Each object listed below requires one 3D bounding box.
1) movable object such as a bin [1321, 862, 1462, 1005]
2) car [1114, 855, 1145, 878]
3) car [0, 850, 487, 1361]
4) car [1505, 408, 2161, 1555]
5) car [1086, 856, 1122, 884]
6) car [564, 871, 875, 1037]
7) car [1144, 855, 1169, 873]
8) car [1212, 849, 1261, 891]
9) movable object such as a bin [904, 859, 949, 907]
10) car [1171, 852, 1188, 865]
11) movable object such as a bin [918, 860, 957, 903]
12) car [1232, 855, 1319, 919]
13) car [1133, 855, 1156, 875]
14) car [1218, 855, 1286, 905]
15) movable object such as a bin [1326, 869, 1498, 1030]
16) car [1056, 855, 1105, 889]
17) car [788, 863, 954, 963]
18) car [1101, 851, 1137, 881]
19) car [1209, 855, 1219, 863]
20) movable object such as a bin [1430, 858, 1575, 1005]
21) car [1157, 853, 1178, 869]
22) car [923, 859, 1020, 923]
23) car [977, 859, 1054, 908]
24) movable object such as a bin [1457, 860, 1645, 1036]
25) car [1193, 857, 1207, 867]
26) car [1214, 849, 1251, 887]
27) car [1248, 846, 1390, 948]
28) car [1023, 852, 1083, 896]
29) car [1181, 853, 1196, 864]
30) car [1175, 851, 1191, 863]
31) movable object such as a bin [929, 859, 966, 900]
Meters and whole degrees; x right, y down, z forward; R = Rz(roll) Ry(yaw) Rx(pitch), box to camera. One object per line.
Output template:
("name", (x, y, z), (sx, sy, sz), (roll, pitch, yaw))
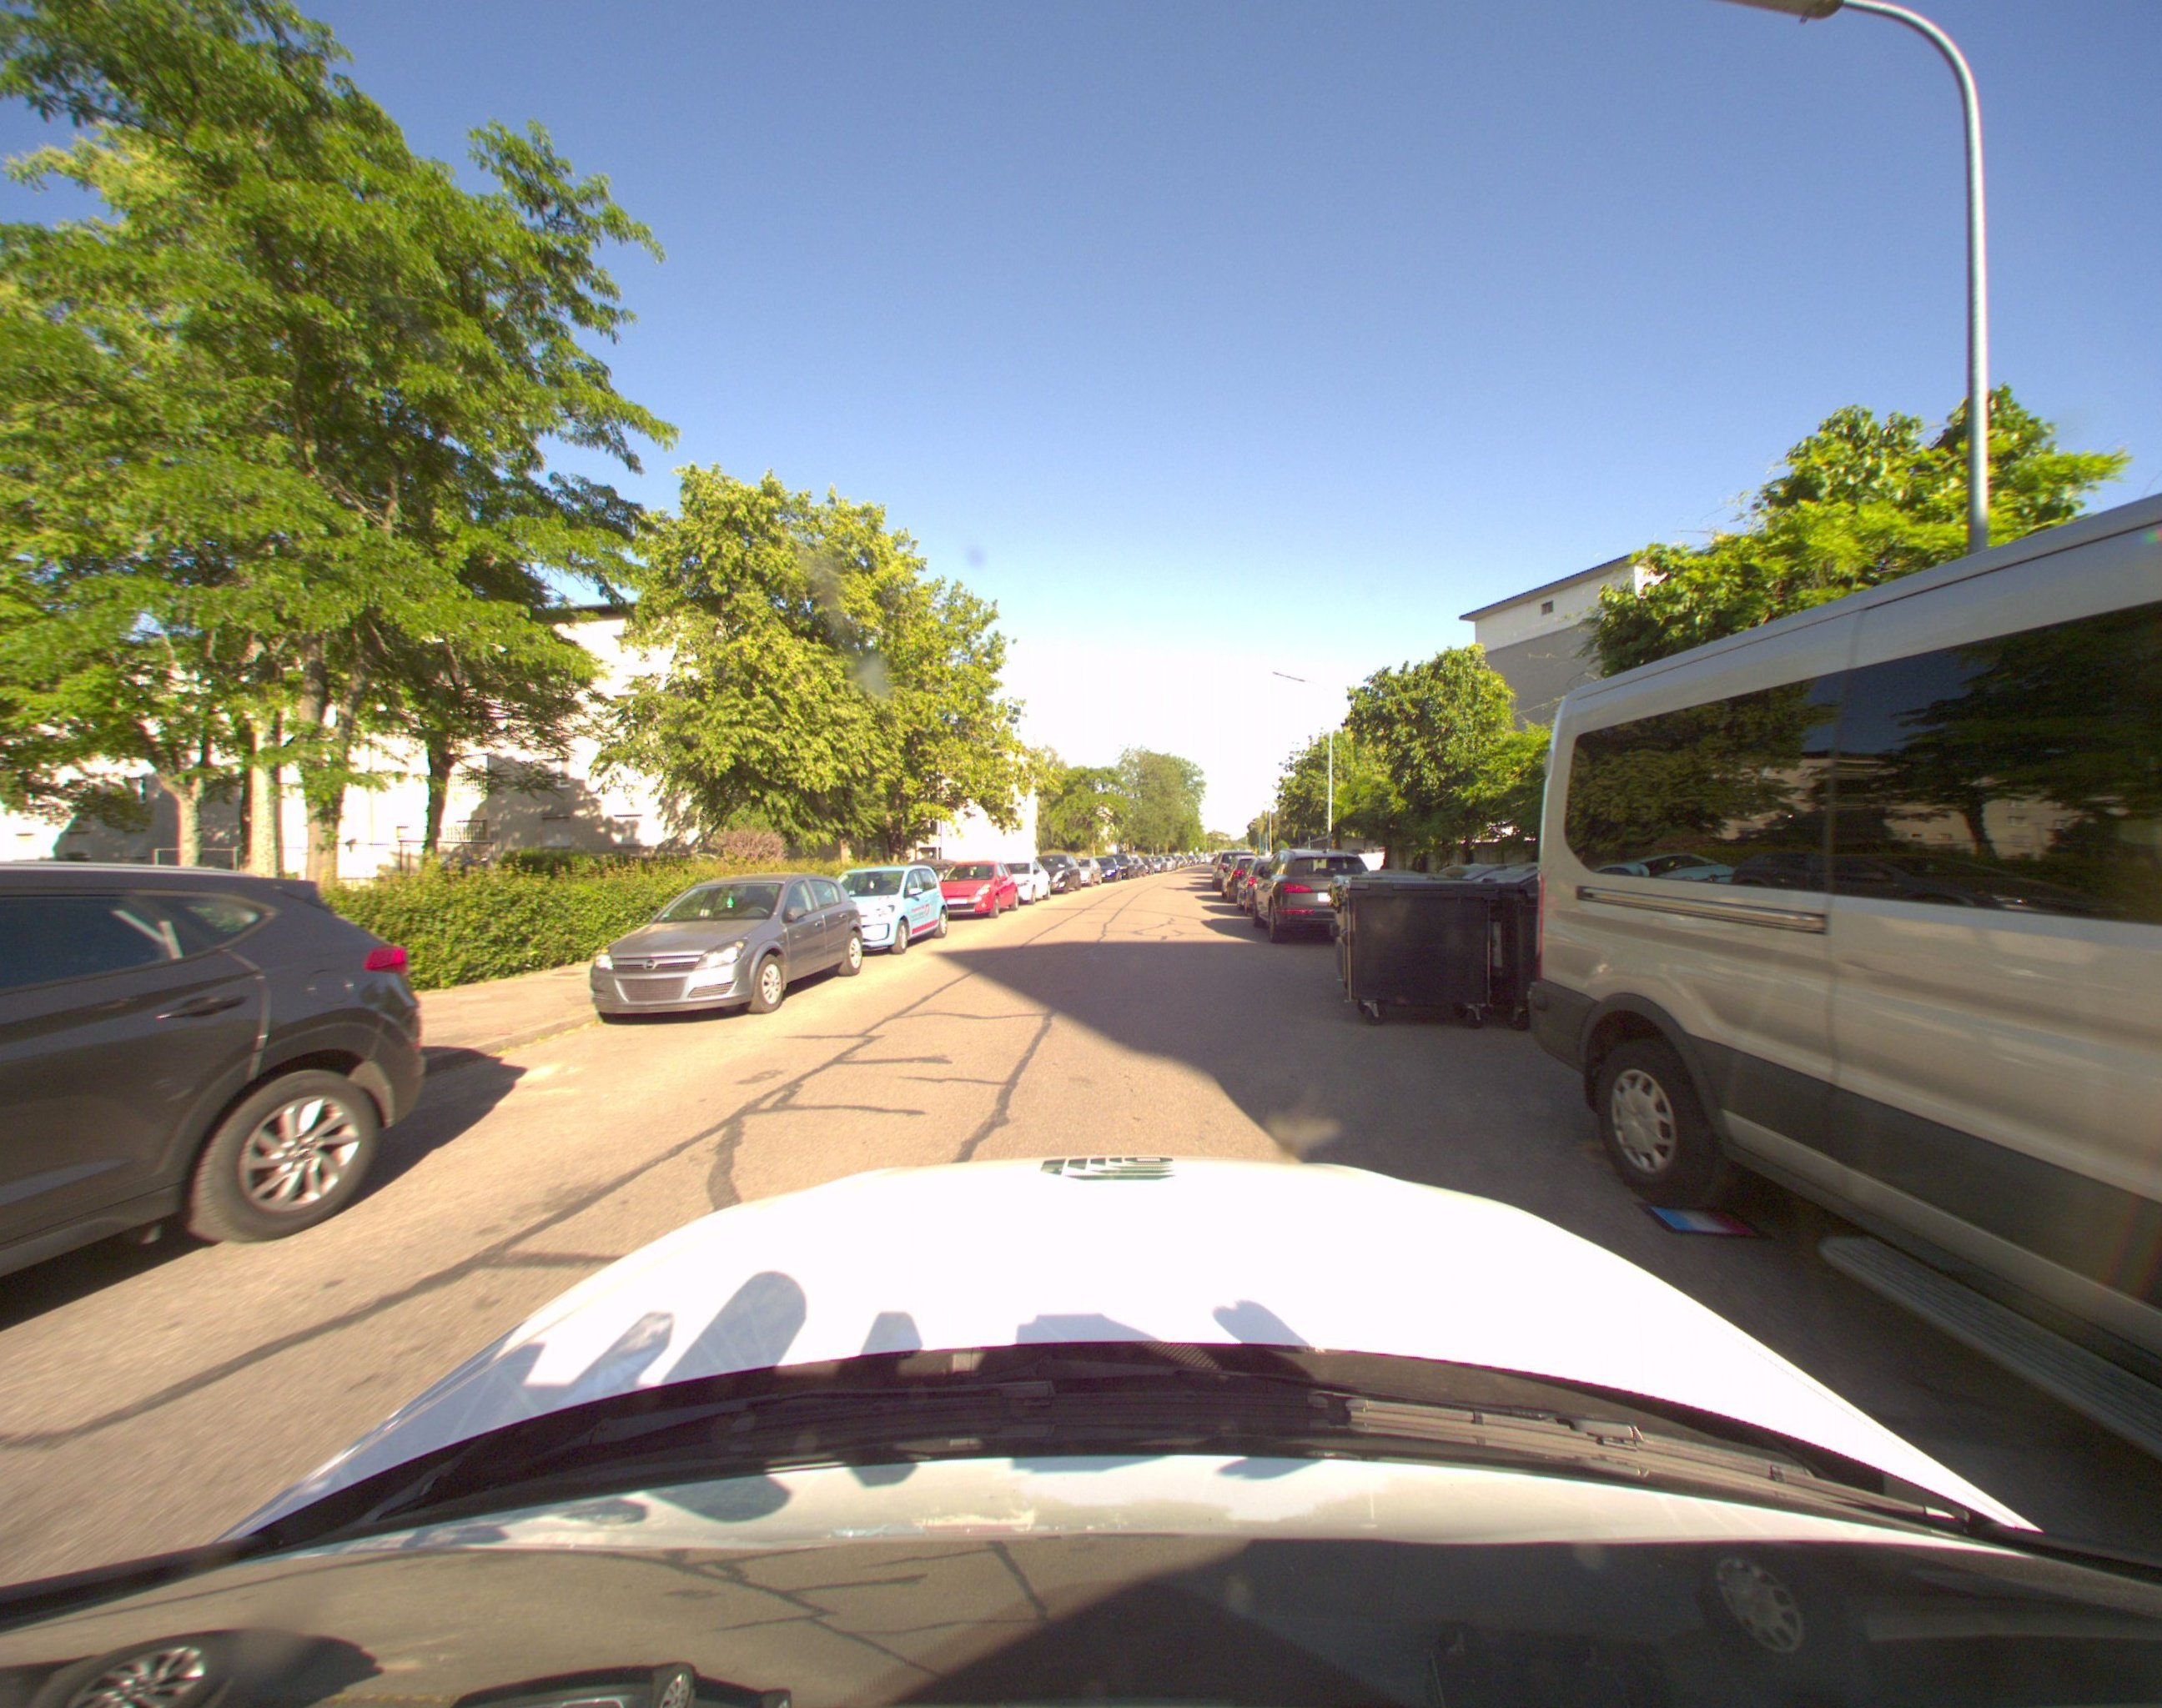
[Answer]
("movable object such as a bin", (3.285, 0.811, 8.772), (1.220, 1.397, 1.174), (-1, 0, 11))
("car", (3.448, 0.867, 56.877), (1.650, 1.439, 3.770), (-3, 0, 10))
("car", (-4.356, 0.835, 2.365), (1.740, 1.617, 4.369), (-2, 0, 5))
("car", (3.394, 0.276, 1.812), (2.096, 2.486, 5.860), (0, 0, 3))
("car", (1.326, 0.853, 45.857), (1.652, 1.426, 4.056), (-3, 0, 6))
("car", (-3.970, 1.002, 9.792), (1.663, 1.437, 4.004), (-3, 0, 4))
("car", (6.585, 0.836, 70.929), (1.499, 1.451, 3.705), (-3, 0, 14))
("car", (6.357, 0.621, 33.709), (1.720, 1.619, 4.242), (0, 0, 7))
("movable object such as a bin", (-5.074, 0.939, 26.848), (1.106, 1.498, 1.410), (-1, 1, 4))
("car", (11.254, 0.504, 93.049), (1.499, 1.381, 3.480), (-3, 0, 14))
("movable object such as a bin", (-5.016, 0.944, 28.562), (0.983, 1.418, 1.316), (-1, 1, 4))
("car", (4.934, 0.779, 21.098), (1.676, 1.487, 3.830), (1, 0, 6))
("car", (5.049, 0.842, 64.269), (1.380, 1.413, 3.134), (-3, 0, 11))
("car", (5.466, 0.772, 26.474), (1.673, 1.456, 4.298), (1, 0, 5))
("movable object such as a bin", (3.028, 0.856, 7.625), (1.261, 1.313, 1.126), (-2, 2, 11))
("car", (0.031, 0.855, 40.257), (1.650, 1.486, 4.064), (-3, 0, 10))
("car", (-3.636, 0.965, 14.812), (1.662, 1.474, 3.684), (-3, 0, 6))
("car", (2.445, 0.711, 51.416), (1.650, 1.688, 4.061), (-3, 0, 10))
("car", (27.011, 0.949, 165.126), (1.811, 1.466, 4.250), (0, 1, 13))
("movable object such as a bin", (4.480, 0.780, 8.766), (1.085, 1.448, 1.173), (0, -1, 10))
("car", (8.207, 0.626, 77.181), (1.499, 1.364, 3.480), (-3, 0, 14))
("car", (-2.831, 0.913, 21.775), (1.662, 1.474, 3.684), (-3, 0, 6))
("car", (-2.108, 0.934, 27.260), (1.661, 1.421, 3.910), (-2, 0, 8))
("movable object such as a bin", (4.246, 0.785, 7.517), (1.101, 1.419, 1.363), (0, 1, 10))
("car", (18.167, 1.232, 124.133), (1.811, 1.466, 4.250), (0, 1, 13))
("car", (7.156, 0.616, 38.787), (1.643, 1.698, 4.244), (0, 0, 9))
("car", (4.341, 0.693, 15.560), (1.801, 1.664, 4.469), (0, 0, 5))
("car", (-1.098, 0.778, 33.974), (1.661, 1.666, 4.417), (-3, 0, 9))
("car", (14.218, 0.530, 107.594), (1.499, 1.329, 3.480), (-3, 0, 14))
("car", (12.399, 0.358, 98.969), (1.499, 1.329, 3.480), (-3, 0, 14))
("movable object such as a bin", (-4.876, 0.915, 29.920), (0.983, 1.418, 1.317), (-1, 1, 6))
